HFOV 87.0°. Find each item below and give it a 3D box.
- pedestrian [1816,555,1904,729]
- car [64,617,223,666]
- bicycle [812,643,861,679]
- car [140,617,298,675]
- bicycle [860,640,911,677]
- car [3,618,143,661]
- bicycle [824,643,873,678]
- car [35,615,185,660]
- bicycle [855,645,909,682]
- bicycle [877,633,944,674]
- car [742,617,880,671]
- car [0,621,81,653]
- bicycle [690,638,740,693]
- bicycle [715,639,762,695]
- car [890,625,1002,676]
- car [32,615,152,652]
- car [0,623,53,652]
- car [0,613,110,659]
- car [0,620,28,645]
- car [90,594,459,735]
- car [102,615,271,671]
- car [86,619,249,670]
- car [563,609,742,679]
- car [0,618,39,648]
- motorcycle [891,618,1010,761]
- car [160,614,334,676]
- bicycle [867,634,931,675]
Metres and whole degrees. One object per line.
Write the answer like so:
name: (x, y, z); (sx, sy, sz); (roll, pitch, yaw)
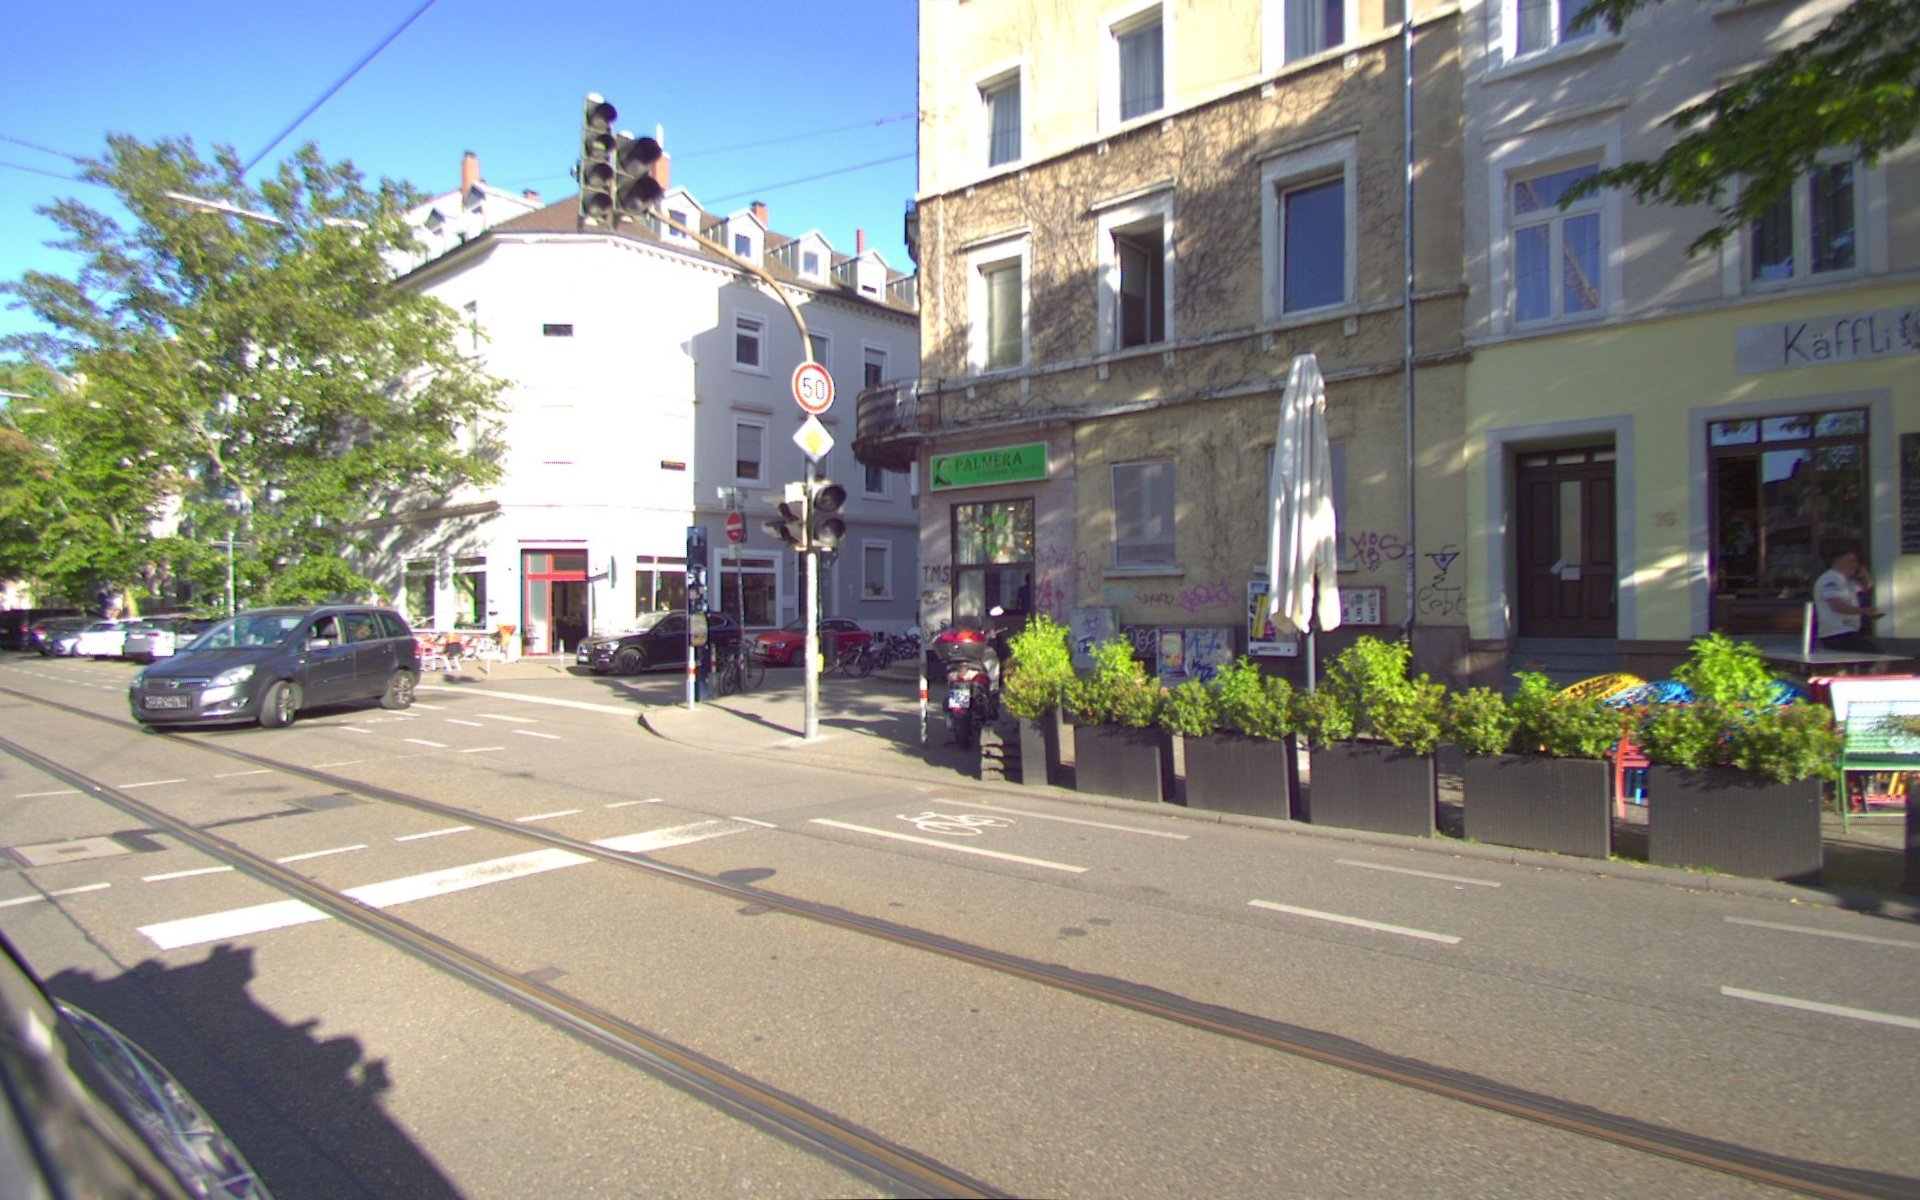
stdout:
pedestrian: (8.922, 0.413, 10.053); (0.569, 1.655, 0.533); (-1, -3, 37)
car: (-28.632, 1.403, 35.653); (1.611, 1.499, 4.102); (0, 1, 24)
bicycle: (-2.990, 1.462, 24.464); (1.310, 0.824, 0.367); (-1, -2, 37)
car: (-22.864, 1.356, 31.428); (1.600, 1.567, 4.128); (0, 1, 6)
bicycle: (-1.836, 1.440, 24.917); (1.311, 0.824, 0.377); (1, 0, 37)
car: (-34.709, 1.498, 39.754); (1.600, 1.499, 4.128); (0, 1, 6)
bicycle: (-2.738, 1.473, 24.745); (1.310, 0.824, 0.351); (-1, -2, 37)
car: (-32.239, 1.384, 38.477); (1.616, 1.499, 4.089); (0, 1, 33)
bicycle: (-1.895, 1.531, 24.563); (1.389, 0.824, 0.357); (2, 0, 37)
bicycle: (-1.261, 1.330, 25.469); (1.766, 0.969, 0.476); (-1, -1, 35)
car: (-4.409, 1.289, 30.301); (1.651, 1.514, 3.897); (-4, -3, 44)
car: (-48.814, 1.930, 52.915); (1.618, 1.499, 4.082); (0, 1, 39)
bicycle: (-4.900, 1.309, 20.345); (0.452, 1.054, 1.685); (0, -3, 5)
bicycle: (-4.419, 1.317, 20.267); (0.445, 1.054, 1.661); (0, -2, 5)
car: (-0.429, 1.695, 34.345); (1.642, 1.599, 3.733); (-4, -3, 44)
car: (-38.915, 1.455, 45.522); (1.600, 1.499, 4.128); (0, 1, 6)
car: (-52.350, 2.059, 55.108); (1.610, 1.499, 4.103); (0, 1, 24)
car: (-41.201, 1.585, 45.766); (1.866, 1.901, 4.128); (0, 1, 6)
car: (-59.380, 2.001, 61.236); (1.610, 1.499, 4.103); (0, 1, 24)
car: (-9.630, 0.882, 14.911); (1.776, 1.675, 5.179); (-1, -2, 3)
car: (-24.674, 1.318, 32.449); (1.608, 1.567, 4.109); (0, 1, 19)
car: (-26.900, 1.449, 34.493); (1.611, 1.499, 4.100); (0, 1, 25)
car: (-7.945, 1.109, 26.370); (1.766, 1.675, 4.136); (-4, -3, 44)
car: (-56.809, 1.943, 59.152); (1.610, 1.674, 4.103); (0, 1, 24)
motorcycle: (-0.044, 0.927, 11.547); (0.989, 1.361, 2.415); (0, 1, 9)
car: (-20.745, 1.259, 29.654); (1.605, 1.567, 4.116); (0, 1, 15)
bicycle: (-1.529, 1.346, 25.164); (1.768, 0.969, 0.422); (-1, -2, 39)
